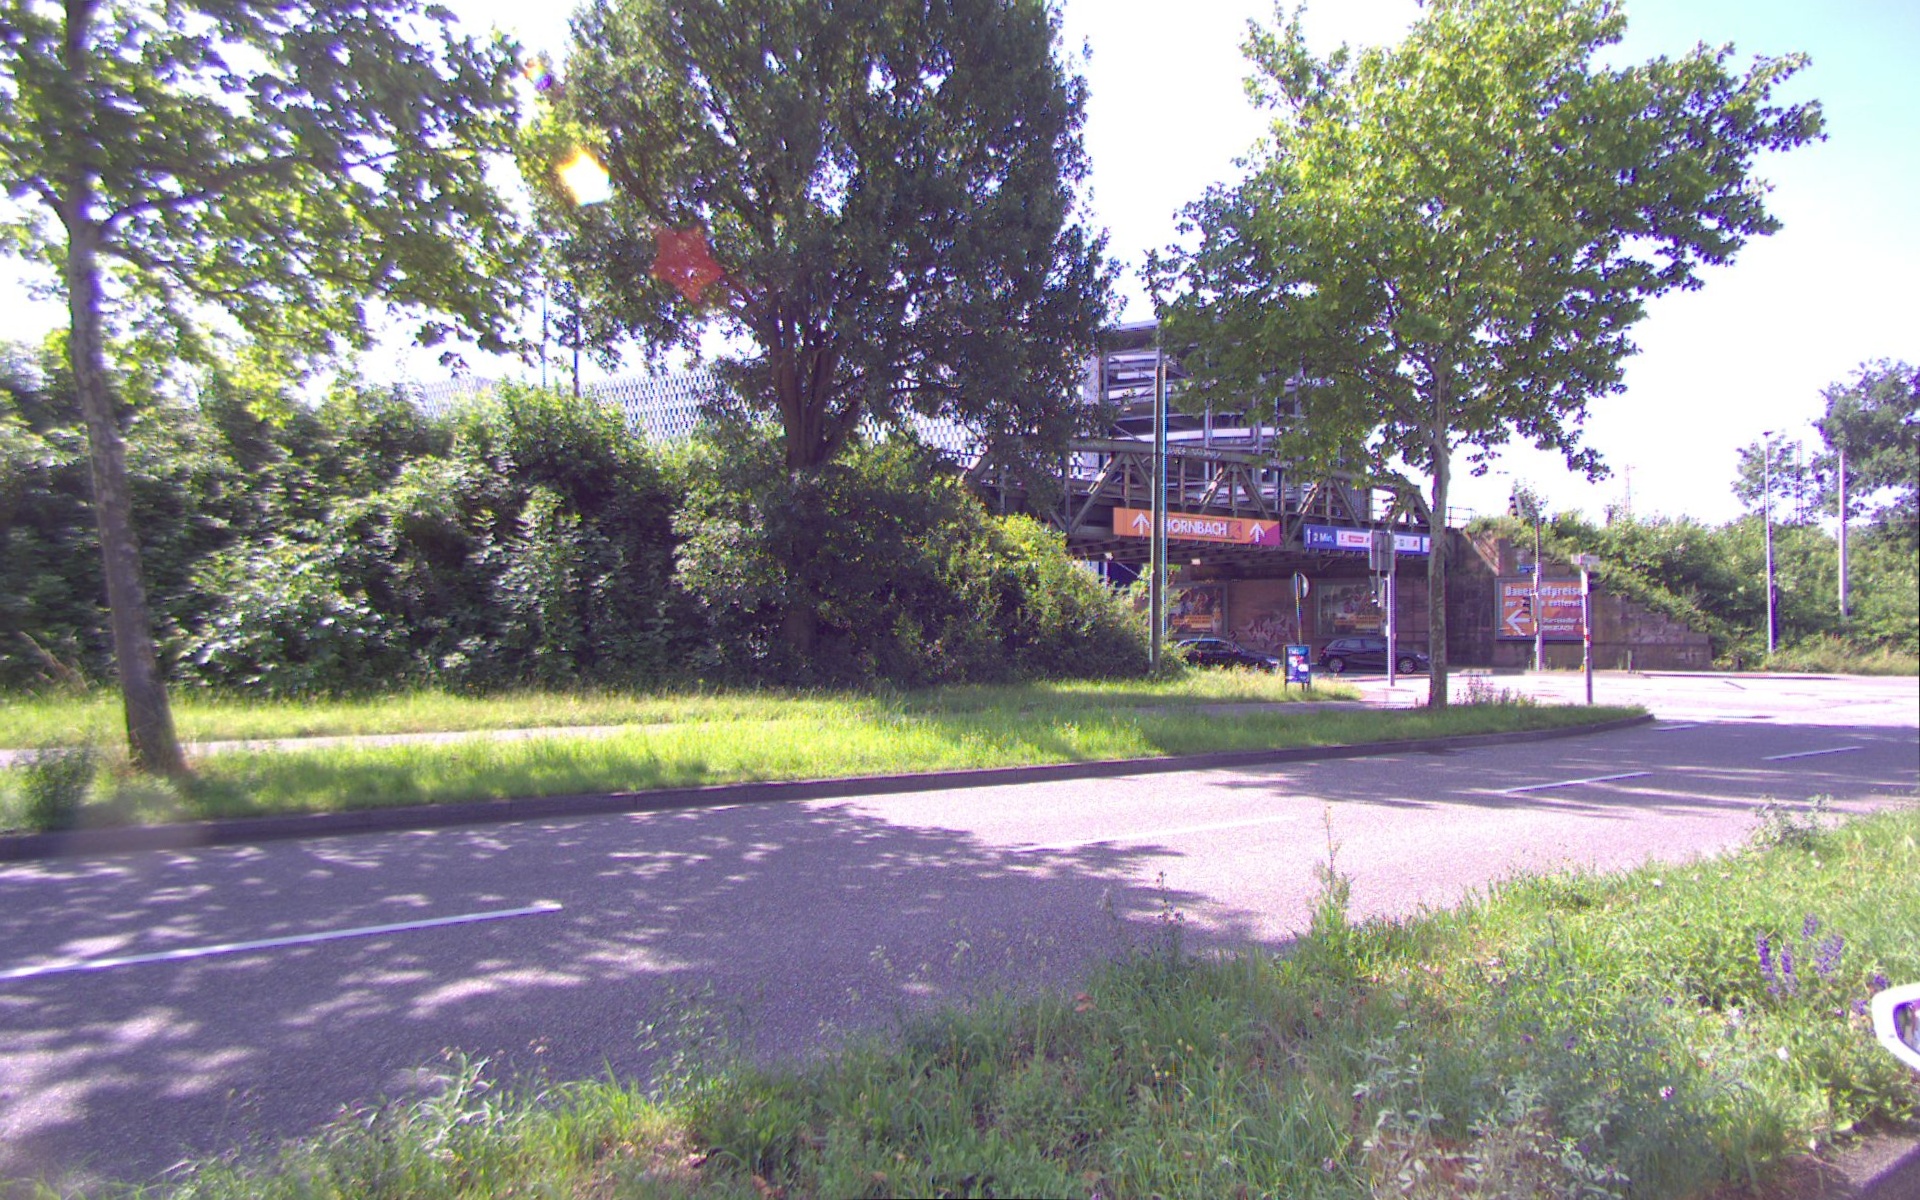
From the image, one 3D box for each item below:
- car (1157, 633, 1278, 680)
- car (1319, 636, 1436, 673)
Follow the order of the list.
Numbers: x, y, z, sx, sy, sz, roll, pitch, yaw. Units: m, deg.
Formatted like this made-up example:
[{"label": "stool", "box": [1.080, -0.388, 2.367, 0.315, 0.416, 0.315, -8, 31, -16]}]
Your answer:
[{"label": "car", "box": [9.117, 1.972, 35.507, 3.869, 1.500, 1.822, 1, -1, 25]}, {"label": "car", "box": [16.739, 2.175, 40.360, 4.253, 1.413, 1.770, -1, -2, 24]}]
